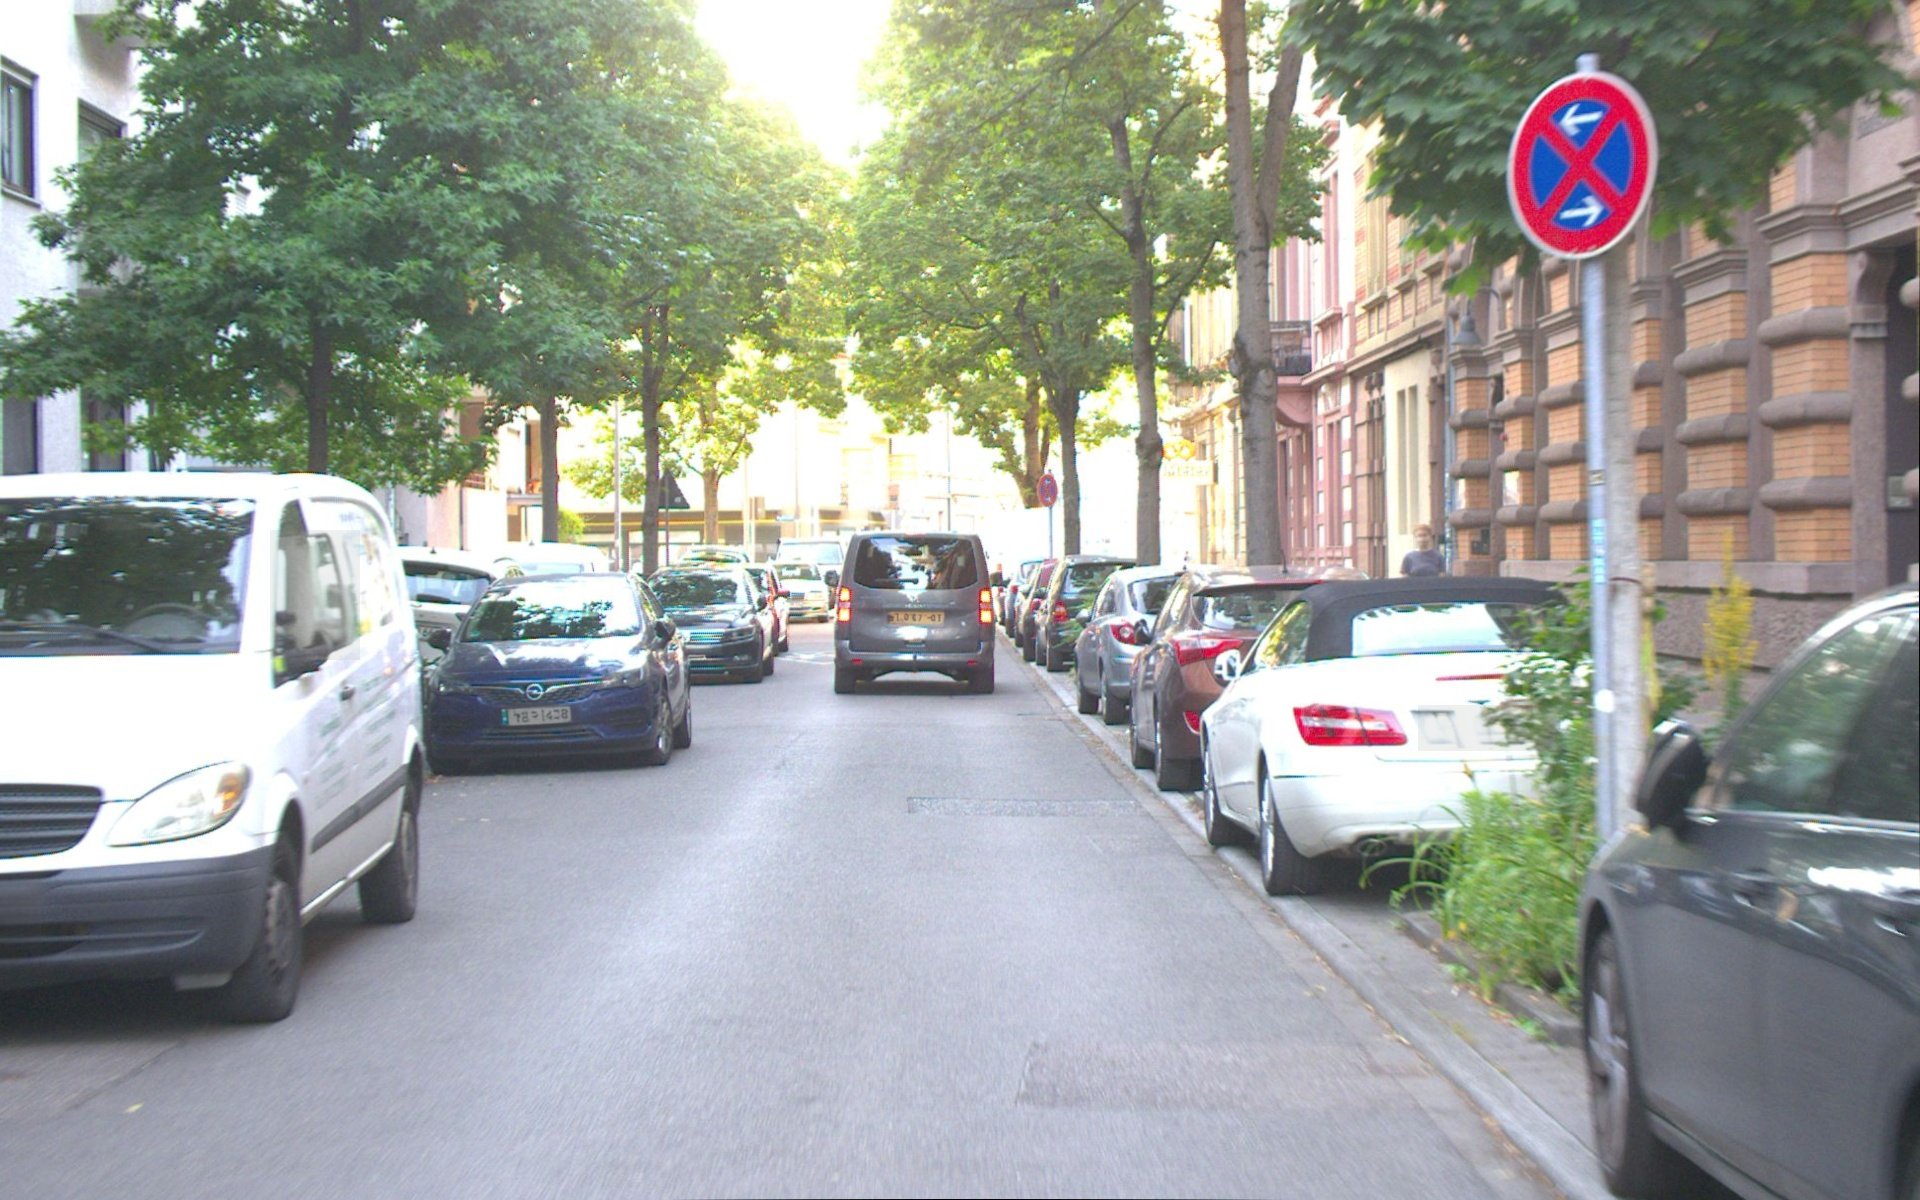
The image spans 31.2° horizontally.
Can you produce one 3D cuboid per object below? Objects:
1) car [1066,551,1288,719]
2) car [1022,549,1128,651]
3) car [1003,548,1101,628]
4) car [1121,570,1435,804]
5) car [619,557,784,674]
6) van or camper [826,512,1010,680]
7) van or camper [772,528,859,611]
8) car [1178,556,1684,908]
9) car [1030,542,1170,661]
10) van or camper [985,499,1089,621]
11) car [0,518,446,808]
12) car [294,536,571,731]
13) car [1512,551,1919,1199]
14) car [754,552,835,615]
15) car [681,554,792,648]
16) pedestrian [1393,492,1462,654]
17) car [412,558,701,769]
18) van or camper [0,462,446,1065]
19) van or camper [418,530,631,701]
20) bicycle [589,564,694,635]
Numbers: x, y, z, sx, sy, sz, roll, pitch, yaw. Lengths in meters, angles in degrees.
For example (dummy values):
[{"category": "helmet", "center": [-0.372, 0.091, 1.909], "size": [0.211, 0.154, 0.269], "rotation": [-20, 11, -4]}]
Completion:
[{"category": "car", "center": [2.072, 0.291, 33.806], "size": [1.697, 1.477, 4.001], "rotation": [-2, 1, -3]}, {"category": "car", "center": [1.761, -0.024, 52.099], "size": [1.551, 1.491, 3.610], "rotation": [0, 1, 2]}, {"category": "car", "center": [1.710, -0.249, 64.826], "size": [1.750, 1.466, 3.776], "rotation": [0, 1, 0]}, {"category": "car", "center": [2.115, 0.533, 23.889], "size": [1.722, 1.445, 4.215], "rotation": [-1, 0, -1]}, {"category": "car", "center": [-3.355, 0.168, 45.313], "size": [1.846, 1.446, 4.503], "rotation": [0, 1, 0]}, {"category": "van or camper", "center": [-0.446, -0.077, 41.052], "size": [2.035, 1.891, 4.271], "rotation": [0, 1, 1]}, {"category": "van or camper", "center": [-3.528, -0.769, 84.788], "size": [1.862, 1.976, 4.271], "rotation": [-1, 1, 1]}, {"category": "car", "center": [2.100, 0.518, 16.552], "size": [1.693, 1.396, 4.646], "rotation": [-1, 1, -1]}, {"category": "car", "center": [1.912, -0.014, 47.800], "size": [1.611, 1.553, 3.766], "rotation": [-1, 1, -2]}, {"category": "van or camper", "center": [1.661, -0.883, 75.801], "size": [1.993, 2.590, 5.425], "rotation": [0, 1, -2]}, {"category": "car", "center": [-4.707, 0.328, 22.408], "size": [1.993, 1.641, 4.922], "rotation": [1, 1, -1]}, {"category": "car", "center": [-5.053, 0.262, 33.548], "size": [2.034, 1.666, 4.649], "rotation": [3, 1, -2]}, {"category": "car", "center": [2.278, 0.652, 6.488], "size": [1.711, 1.472, 4.193], "rotation": [0, 1, -1]}, {"category": "car", "center": [-3.811, -0.391, 79.689], "size": [1.741, 1.399, 3.375], "rotation": [-1, 1, -1]}, {"category": "car", "center": [-3.568, -0.011, 55.299], "size": [1.630, 1.425, 3.543], "rotation": [-1, 1, -2]}, {"category": "pedestrian", "center": [4.764, -0.280, 35.067], "size": [0.627, 1.643, 0.532], "rotation": [0, 1, 0]}, {"category": "car", "center": [-3.091, 0.438, 27.143], "size": [1.830, 1.512, 4.516], "rotation": [0, 1, -1]}, {"category": "van or camper", "center": [-3.148, 0.465, 12.902], "size": [1.876, 1.836, 4.753], "rotation": [-1, 1, -2]}, {"category": "van or camper", "center": [-4.918, 0.123, 39.390], "size": [1.931, 1.754, 4.466], "rotation": [3, 1, -2]}, {"category": "bicycle", "center": [-5.519, -0.013, 59.665], "size": [0.605, 1.191, 1.824], "rotation": [3, 2, 45]}]
